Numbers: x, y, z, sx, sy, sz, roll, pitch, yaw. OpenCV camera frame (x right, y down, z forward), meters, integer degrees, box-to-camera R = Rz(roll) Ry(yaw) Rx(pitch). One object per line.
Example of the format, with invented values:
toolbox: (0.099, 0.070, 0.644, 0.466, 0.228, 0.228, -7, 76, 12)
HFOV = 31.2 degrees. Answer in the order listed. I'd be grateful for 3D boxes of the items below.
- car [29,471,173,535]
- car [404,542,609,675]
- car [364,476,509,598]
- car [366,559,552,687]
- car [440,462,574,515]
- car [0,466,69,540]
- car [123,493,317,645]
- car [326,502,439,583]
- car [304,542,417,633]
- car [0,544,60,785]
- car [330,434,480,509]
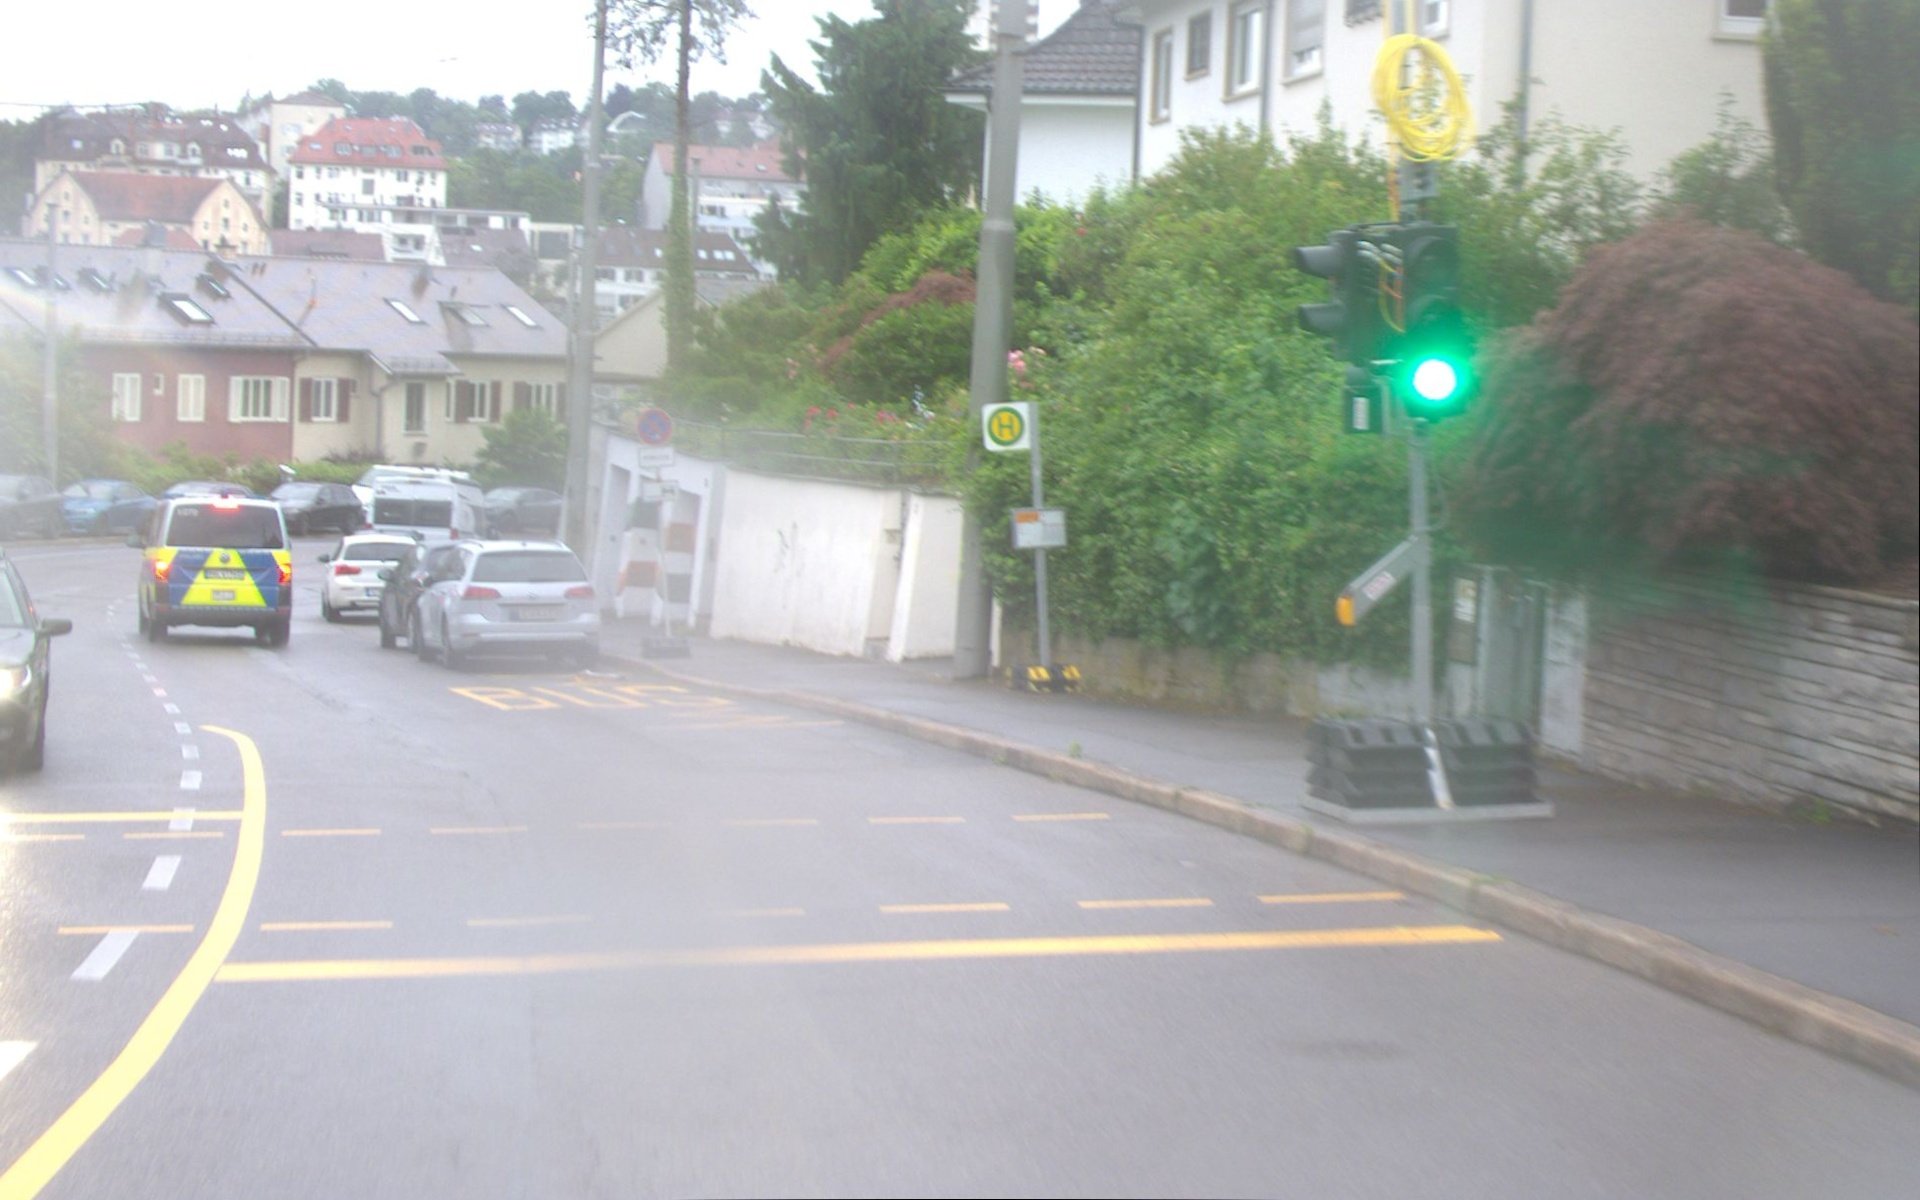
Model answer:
car: (-22.131, -2.528, 88.761, 1.700, 1.399, 4.471, 6, 4, 13)
car: (-5.341, 0.056, 40.037, 1.781, 1.415, 4.432, 0, 2, -15)
car: (-11.518, -1.421, 76.009, 2.099, 2.533, 5.620, 2, 2, 2)
car: (-6.572, 0.270, 44.787, 1.713, 1.508, 4.001, 0, 2, -18)
car: (-14.454, -3.553, 109.967, 1.811, 1.471, 4.515, 6, 4, 29)
car: (-23.486, -2.383, 83.501, 1.922, 1.571, 4.387, 5, 3, 8)
car: (-10.156, -0.438, 46.953, 2.308, 1.933, 4.326, -2, 1, -15)
car: (-11.794, -1.197, 70.409, 1.753, 1.490, 4.185, 2, 2, -2)
car: (-10.183, -0.241, 58.198, 1.704, 1.409, 4.043, 1, 1, -12)
car: (-7.214, 0.372, 23.789, 1.698, 1.456, 4.685, 0, 2, -12)
car: (-16.874, -3.890, 104.728, 1.851, 2.071, 5.014, 6, 3, 25)
